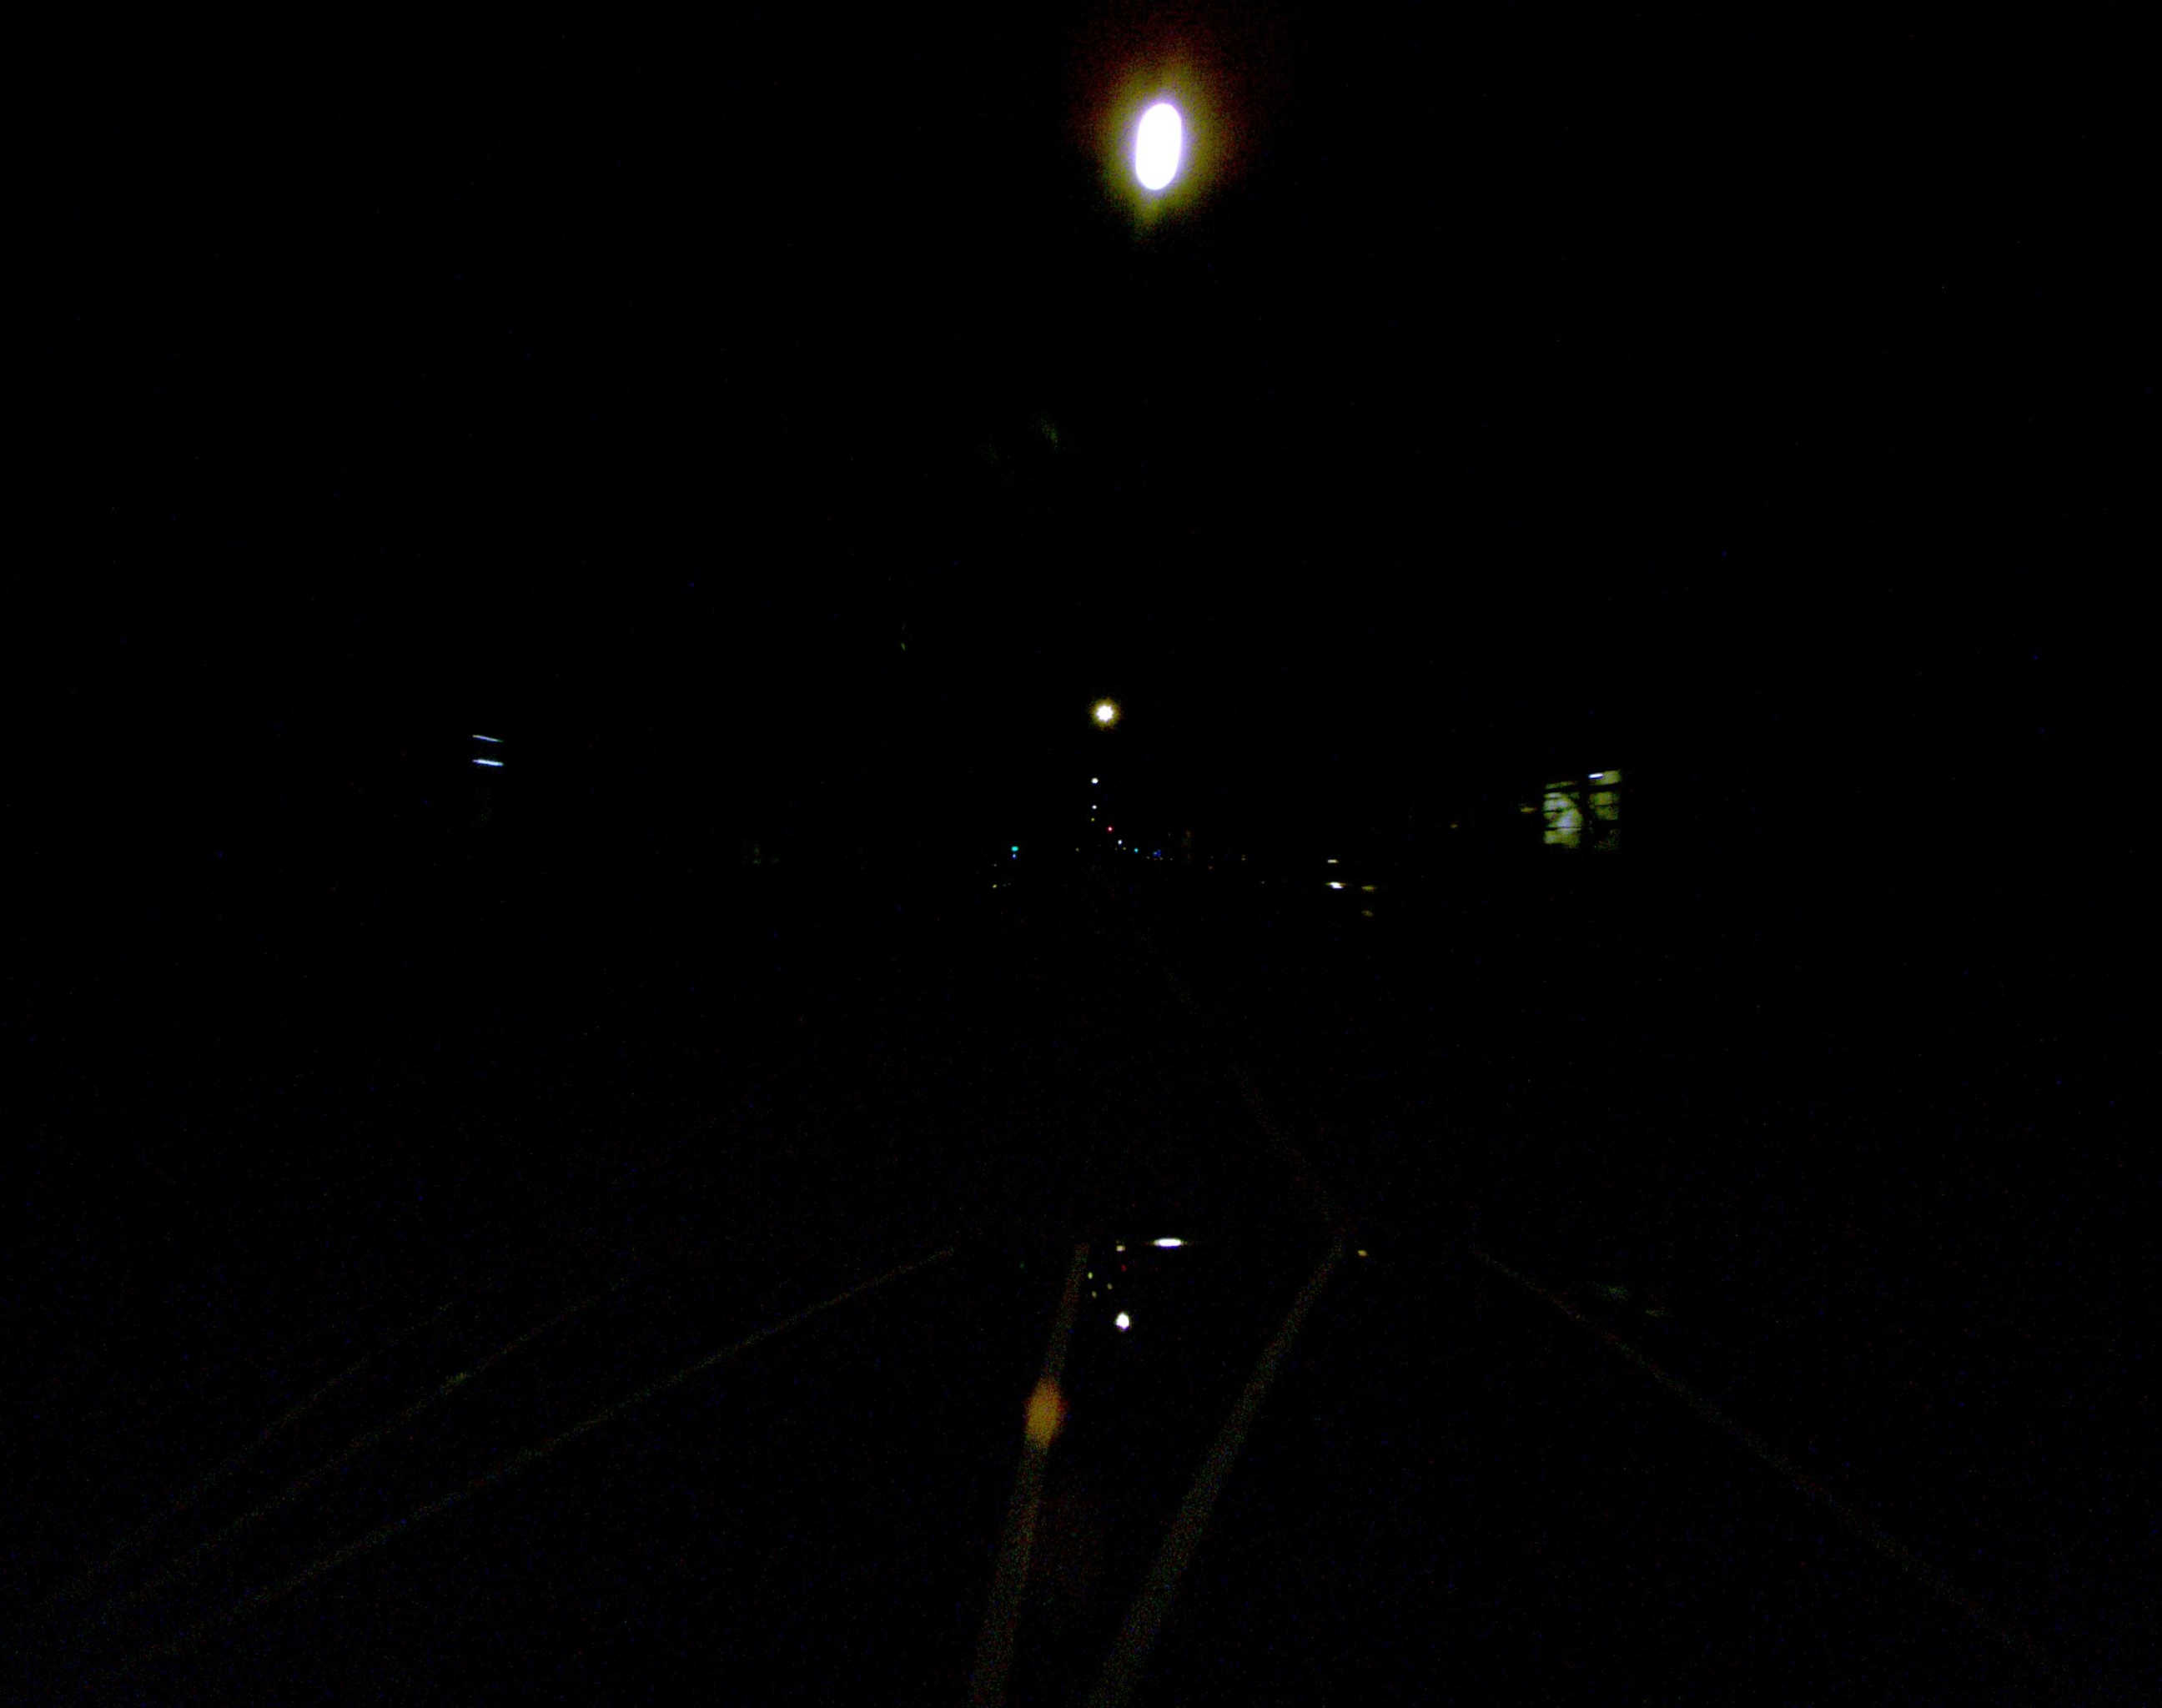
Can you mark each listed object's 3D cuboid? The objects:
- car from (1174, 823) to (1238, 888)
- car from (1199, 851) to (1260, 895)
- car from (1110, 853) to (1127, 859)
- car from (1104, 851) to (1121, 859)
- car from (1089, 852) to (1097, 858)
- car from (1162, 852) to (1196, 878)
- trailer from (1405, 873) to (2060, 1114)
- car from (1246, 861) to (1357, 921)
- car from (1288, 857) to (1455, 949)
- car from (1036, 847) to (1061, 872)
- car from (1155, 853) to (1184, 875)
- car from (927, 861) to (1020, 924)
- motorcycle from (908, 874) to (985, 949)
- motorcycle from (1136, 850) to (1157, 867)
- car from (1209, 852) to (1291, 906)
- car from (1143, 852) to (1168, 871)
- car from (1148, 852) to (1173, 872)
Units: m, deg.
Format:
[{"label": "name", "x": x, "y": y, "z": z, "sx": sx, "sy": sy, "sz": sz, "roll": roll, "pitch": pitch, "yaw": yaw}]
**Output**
[{"label": "car", "x": 6.002, "y": 0.043, "z": 37.069, "sx": 2.184, "sy": 2.892, "sz": 4.909, "roll": -2, "pitch": 0, "yaw": 0}, {"label": "car", "x": 5.948, "y": 0.727, "z": 30.892, "sx": 1.746, "sy": 1.597, "sz": 4.116, "roll": -2, "pitch": 0, "yaw": 2}, {"label": "car", "x": 8.608, "y": 0.463, "z": 175.619, "sx": 3.763, "sy": 1.577, "sz": 1.634, "roll": 0, "pitch": 1, "yaw": -3}, {"label": "car", "x": 7.527, "y": 0.191, "z": 181.561, "sx": 4.055, "sy": 1.879, "sz": 1.634, "roll": 0, "pitch": 1, "yaw": -3}, {"label": "car", "x": 3.066, "y": 0.244, "z": 189.641, "sx": 1.936, "sy": 1.646, "sz": 3.833, "roll": 0, "pitch": 0, "yaw": 0}, {"label": "car", "x": 6.119, "y": 0.677, "z": 47.701, "sx": 1.649, "sy": 1.496, "sz": 3.861, "roll": -2, "pitch": 0, "yaw": 1}, {"label": "trailer", "x": 5.481, "y": 1.003, "z": 7.763, "sx": 2.115, "sy": 1.327, "sz": 5.435, "roll": -3, "pitch": 0, "yaw": 2}, {"label": "car", "x": 5.856, "y": 0.927, "z": 20.800, "sx": 1.709, "sy": 1.403, "sz": 4.633, "roll": 0, "pitch": 0, "yaw": 0}, {"label": "car", "x": 5.674, "y": 0.874, "z": 15.433, "sx": 1.721, "sy": 1.493, "sz": 4.205, "roll": -3, "pitch": 0, "yaw": 0}, {"label": "car", "x": -2.634, "y": 0.423, "z": 62.625, "sx": 1.956, "sy": 1.952, "sz": 4.603, "roll": 0, "pitch": 0, "yaw": -1}, {"label": "car", "x": 6.237, "y": 0.656, "z": 53.821, "sx": 1.551, "sy": 1.447, "sz": 3.368, "roll": -2, "pitch": 0, "yaw": 0}, {"label": "car", "x": -2.779, "y": 0.951, "z": 20.498, "sx": 1.672, "sy": 1.420, "sz": 4.148, "roll": 1, "pitch": 0, "yaw": 3}, {"label": "motorcycle", "x": -2.646, "y": 1.061, "z": 14.724, "sx": 0.930, "sy": 1.276, "sz": 2.230, "roll": 1, "pitch": 0, "yaw": -24}, {"label": "motorcycle", "x": 6.392, "y": 0.446, "z": 74.359, "sx": 1.909, "sy": 1.541, "sz": 0.638, "roll": -3, "pitch": 1, "yaw": -19}, {"label": "car", "x": 5.680, "y": 0.779, "z": 26.042, "sx": 1.746, "sy": 1.597, "sz": 4.297, "roll": -2, "pitch": 0, "yaw": -1}, {"label": "car", "x": 6.287, "y": 0.595, "z": 64.408, "sx": 1.646, "sy": 1.496, "sz": 3.903, "roll": -3, "pitch": 0, "yaw": 0}, {"label": "car", "x": 6.281, "y": 0.625, "z": 60.145, "sx": 1.448, "sy": 1.421, "sz": 3.903, "roll": -3, "pitch": 0, "yaw": 0}]
